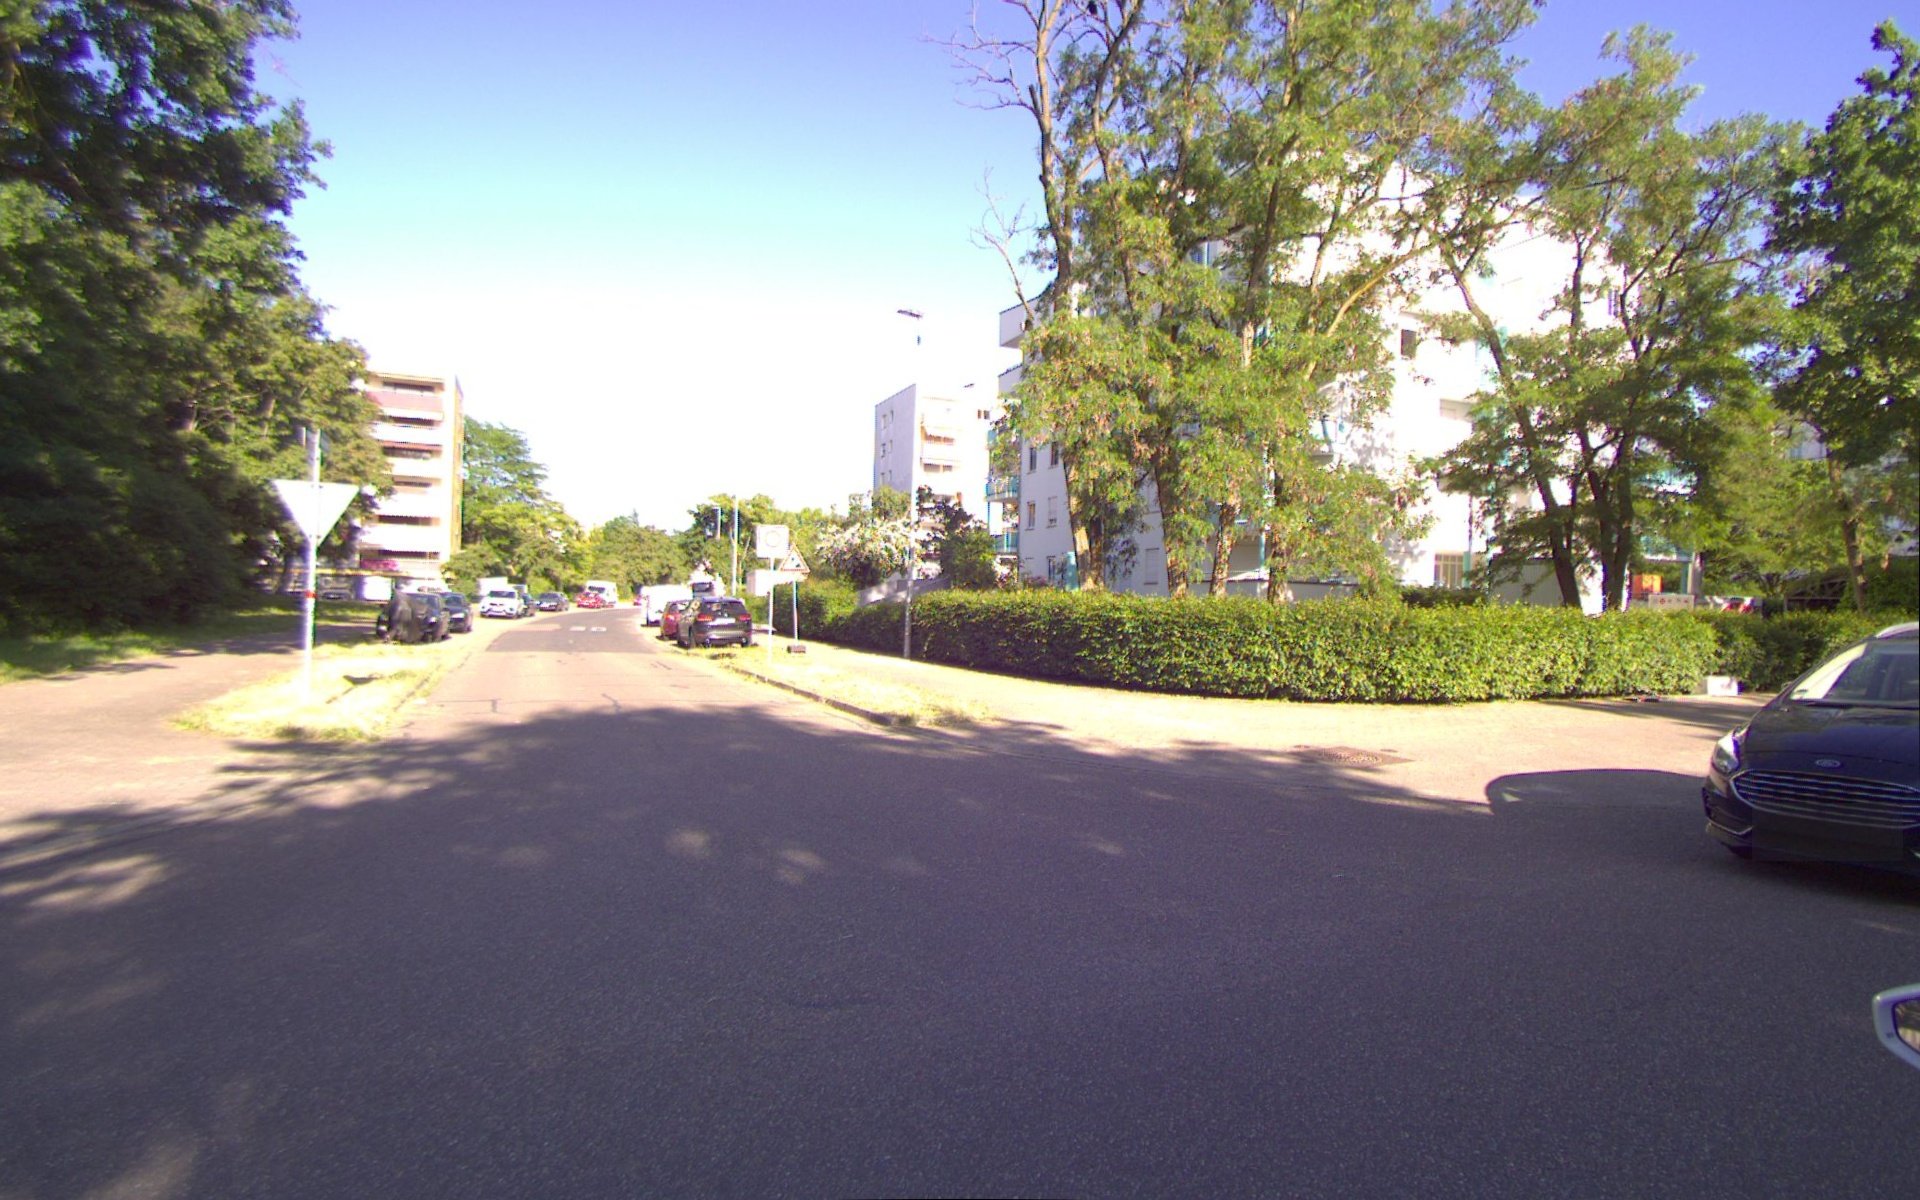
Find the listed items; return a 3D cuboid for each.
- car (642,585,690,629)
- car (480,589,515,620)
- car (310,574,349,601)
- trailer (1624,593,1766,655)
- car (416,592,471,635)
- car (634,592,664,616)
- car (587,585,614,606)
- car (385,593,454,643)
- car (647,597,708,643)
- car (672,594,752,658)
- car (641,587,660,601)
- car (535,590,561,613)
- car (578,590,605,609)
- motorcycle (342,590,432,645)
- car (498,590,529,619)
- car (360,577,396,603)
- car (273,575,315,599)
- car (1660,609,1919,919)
[{"bbox_3d":[-14.769,0.312,50.333,1.803,2.088,3.813,1,0,-24],"label":"car"},{"bbox_3d":[-25.089,0.228,54.525,1.623,1.578,3.813,1,0,-24],"label":"car"},{"bbox_3d":[-44.154,-0.870,70.436,1.738,1.767,3.813,1,0,-24],"label":"car"},{"bbox_3d":[25.639,0.835,35.051,4.365,2.070,1.972,1,0,-22],"label":"trailer"},{"bbox_3d":[-18.597,0.463,36.268,1.538,1.410,3.567,2,0,-24],"label":"car"},{"bbox_3d":[-20.206,0.251,65.222,1.499,1.486,3.056,1,0,-23],"label":"car"},{"bbox_3d":[-34.604,-0.445,96.727,1.950,1.925,3.989,2,0,-13],"label":"car"},{"bbox_3d":[-16.379,0.515,30.564,1.538,1.410,3.567,2,0,-24],"label":"car"},{"bbox_3d":[-10.521,0.713,37.219,1.615,1.531,3.813,2,0,-24],"label":"car"},{"bbox_3d":[-7.688,0.763,30.918,1.732,1.808,3.813,1,0,-24],"label":"car"},{"bbox_3d":[-38.819,-0.784,125.960,1.860,1.662,3.991,2,0,-12],"label":"car"},{"bbox_3d":[-30.245,0.071,73.731,1.623,1.578,3.813,1,0,-24],"label":"car"},{"bbox_3d":[-33.593,-0.068,91.671,1.796,1.617,3.989,2,0,-13],"label":"car"},{"bbox_3d":[-15.003,0.456,26.344,0.664,1.362,1.955,2,0,34],"label":"motorcycle"},{"bbox_3d":[-26.596,0.251,59.810,1.623,1.578,3.813,1,0,-24],"label":"car"},{"bbox_3d":[-41.306,-0.733,71.345,1.738,1.767,3.813,1,0,-24],"label":"car"},{"bbox_3d":[-45.881,-0.907,69.240,1.775,1.547,3.813,2,0,-24],"label":"car"},{"bbox_3d":[6.943,0.932,6.663,4.431,1.646,1.816,1,-2,-25],"label":"car"}]
